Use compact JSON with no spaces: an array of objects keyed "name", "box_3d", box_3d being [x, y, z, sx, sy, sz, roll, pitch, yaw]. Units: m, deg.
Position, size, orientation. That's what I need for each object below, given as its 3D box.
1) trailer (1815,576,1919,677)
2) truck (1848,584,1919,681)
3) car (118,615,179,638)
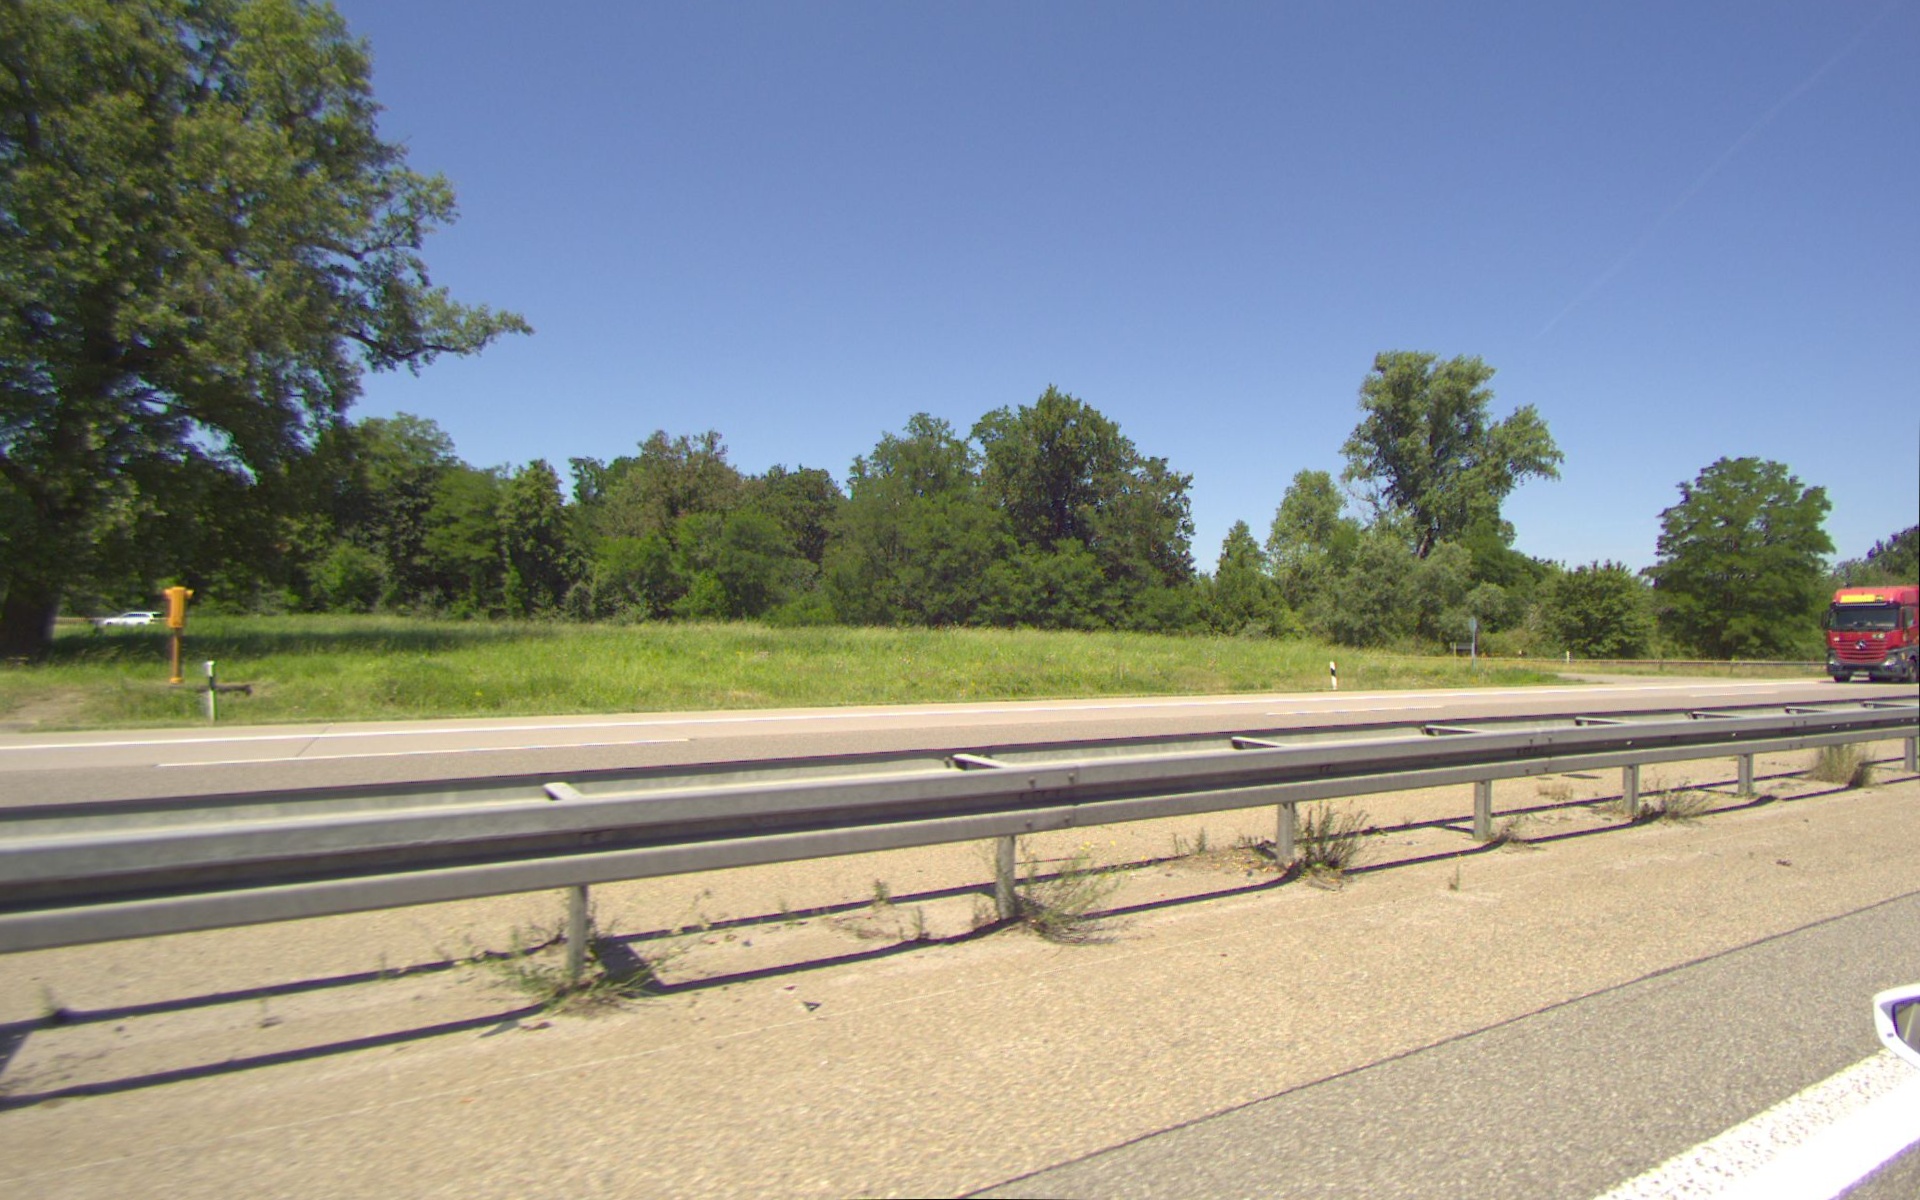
[{"name":"trailer","box_3d":[39.248,1.108,42.671,5.958,4.045,2.590,2,0,-30]},{"name":"truck","box_3d":[45.267,1.588,46.328,12.543,4.100,2.588,2,-4,-31]},{"name":"car","box_3d":[-71.670,2.310,88.735,3.920,1.840,1.787,2,0,4]}]
